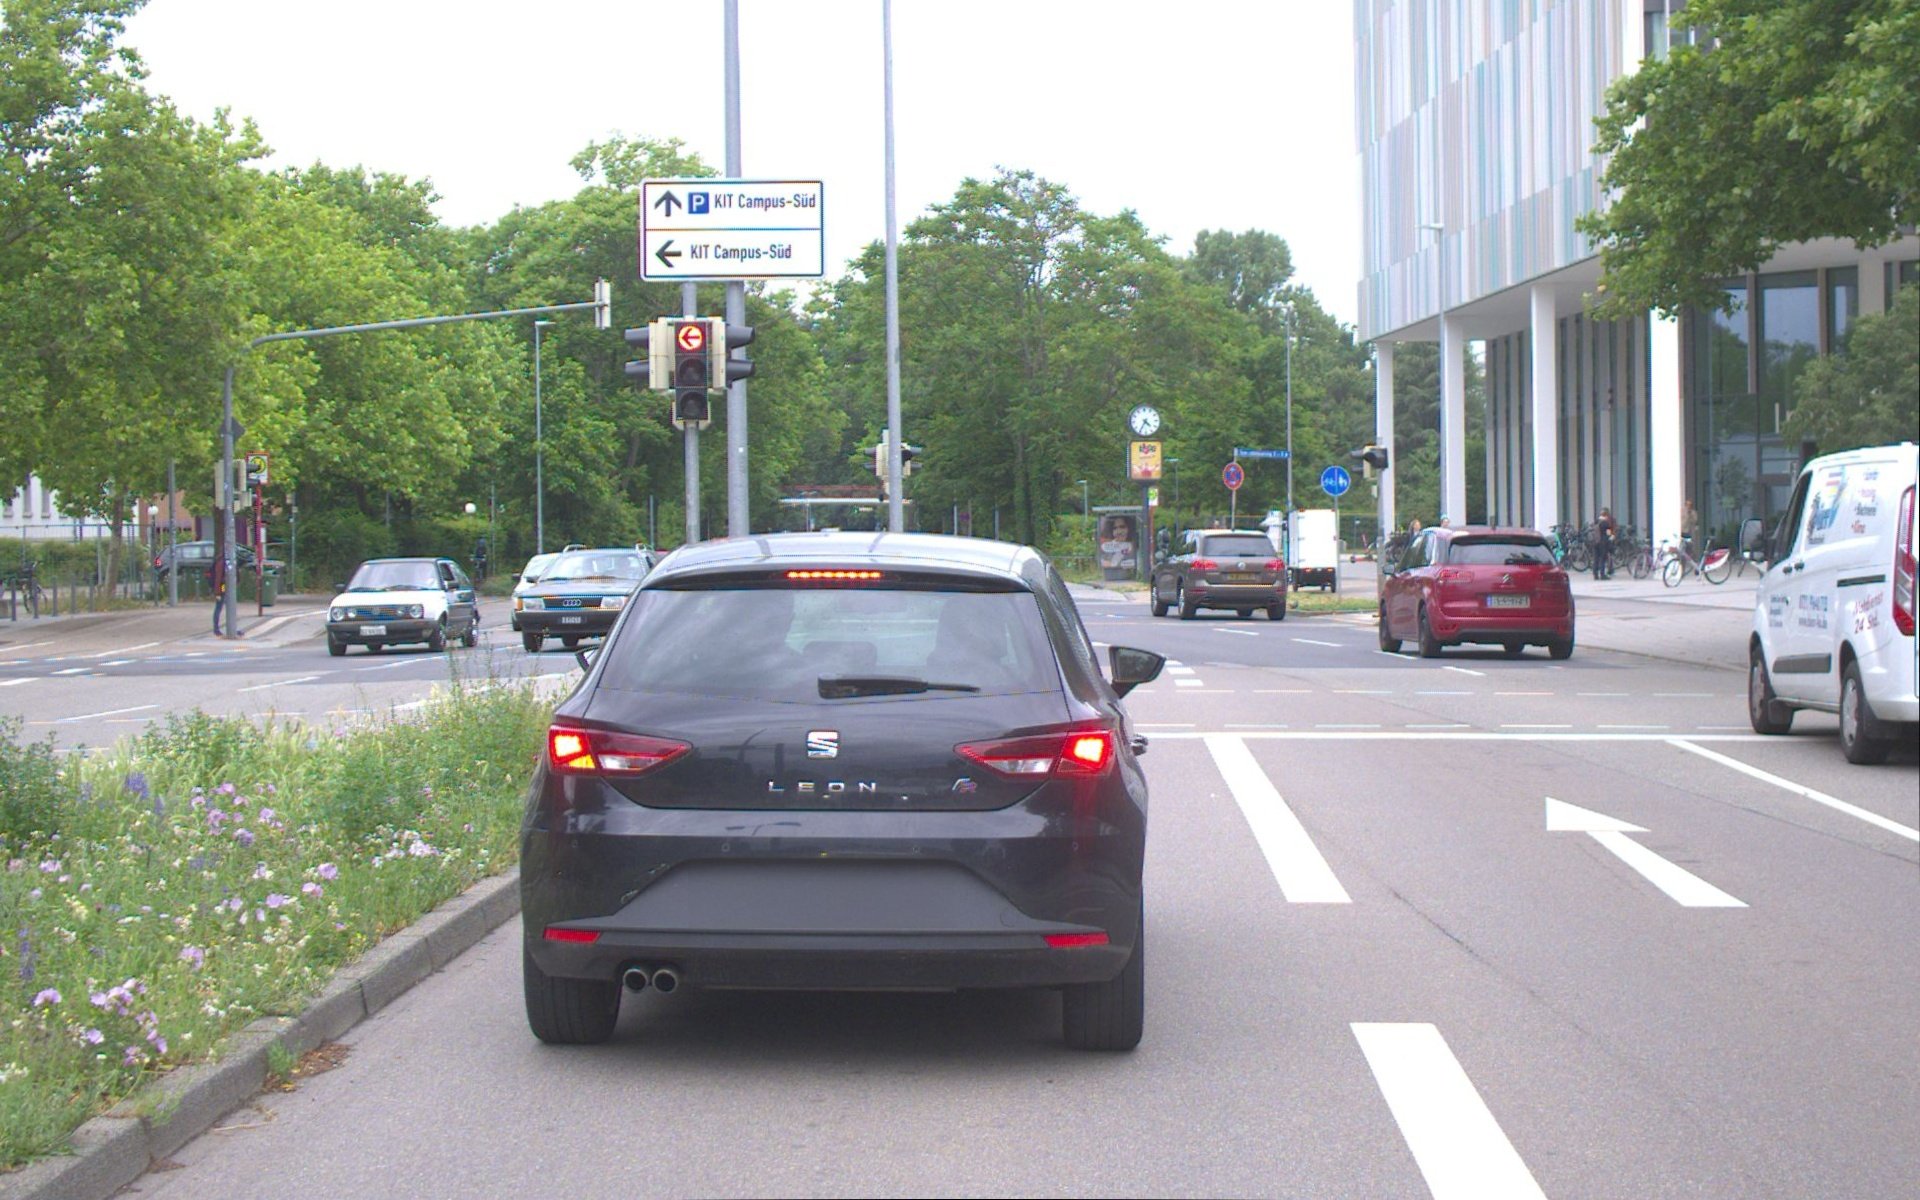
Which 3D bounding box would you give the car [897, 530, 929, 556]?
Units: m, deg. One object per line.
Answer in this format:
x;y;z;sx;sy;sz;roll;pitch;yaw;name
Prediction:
-2.314;-2.828;169.364;1.505;1.189;3.163;-2;2;-1;car

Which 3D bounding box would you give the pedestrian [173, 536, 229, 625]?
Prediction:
-13.833;-0.363;62.679;0.874;1.580;0.543;-2;2;-4;pedestrian

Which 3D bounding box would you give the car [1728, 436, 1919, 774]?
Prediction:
6.407;-0.015;22.145;1.966;1.965;4.344;1;2;1;car

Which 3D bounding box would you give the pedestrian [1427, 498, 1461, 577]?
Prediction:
11.010;-1.426;78.237;0.687;1.775;0.677;0;2;2;pedestrian

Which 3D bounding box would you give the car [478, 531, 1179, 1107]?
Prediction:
-0.227;0.519;10.702;1.753;1.427;3.769;1;2;4;car

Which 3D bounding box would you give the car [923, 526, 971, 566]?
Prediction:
-0.477;-2.004;125.950;1.615;1.349;4.001;-2;2;-1;car

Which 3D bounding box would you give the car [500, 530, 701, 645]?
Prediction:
-5.011;-0.205;48.588;1.764;1.455;4.790;-3;1;7;car

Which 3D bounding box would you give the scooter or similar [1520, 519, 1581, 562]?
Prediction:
16.131;-1.618;93.911;1.671;1.103;0.499;-3;2;-29;scooter or similar

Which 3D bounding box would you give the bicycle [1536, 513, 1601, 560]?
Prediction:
16.520;-1.732;93.312;1.772;1.207;0.570;-3;2;-31;bicycle

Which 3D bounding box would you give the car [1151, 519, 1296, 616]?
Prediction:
4.875;-0.641;64.084;1.914;1.658;4.115;-2;2;-6;car

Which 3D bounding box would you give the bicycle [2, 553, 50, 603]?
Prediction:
-20.858;-0.498;76.775;0.607;1.056;2.045;-2;2;-4;bicycle

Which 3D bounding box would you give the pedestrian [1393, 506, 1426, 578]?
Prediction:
10.235;-1.328;78.275;0.687;1.634;0.633;0;2;2;pedestrian

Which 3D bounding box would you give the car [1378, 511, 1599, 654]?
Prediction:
6.397;-0.256;42.002;1.949;1.618;3.750;0;2;-2;car

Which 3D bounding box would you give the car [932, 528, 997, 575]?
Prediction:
0.125;-1.551;108.961;1.898;1.349;3.883;-2;2;-1;car

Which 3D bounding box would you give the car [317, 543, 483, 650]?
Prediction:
-8.073;-0.083;49.834;1.608;1.376;3.808;-2;2;2;car

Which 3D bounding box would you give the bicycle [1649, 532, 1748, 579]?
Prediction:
15.427;-0.932;71.815;1.885;0.895;0.697;-3;2;-18;bicycle

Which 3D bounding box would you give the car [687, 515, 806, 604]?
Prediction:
-4.305;-0.836;69.939;1.921;1.658;4.398;-2;1;2;car

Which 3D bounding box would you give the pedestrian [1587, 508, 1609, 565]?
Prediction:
15.655;-1.557;84.352;0.472;1.357;0.445;-2;2;12;pedestrian

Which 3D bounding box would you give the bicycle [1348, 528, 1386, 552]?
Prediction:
14.752;-2.175;124.558;1.258;0.845;0.482;2;0;-20;bicycle

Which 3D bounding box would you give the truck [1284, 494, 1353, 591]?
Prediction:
8.587;-1.398;82.562;1.317;2.235;3.401;-2;2;2;truck

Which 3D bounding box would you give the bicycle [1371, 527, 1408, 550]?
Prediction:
15.308;-2.192;122.523;1.234;0.820;0.482;1;0;-20;bicycle

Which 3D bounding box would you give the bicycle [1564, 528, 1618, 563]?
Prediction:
16.803;-1.450;91.596;1.437;0.855;0.365;-3;2;-24;bicycle

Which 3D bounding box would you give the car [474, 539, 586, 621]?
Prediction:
-8.286;-0.412;66.579;1.705;1.426;4.228;-2;2;-2;car

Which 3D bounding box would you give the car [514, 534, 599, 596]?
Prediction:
-12.119;-1.071;103.389;1.906;1.711;4.000;-2;2;2;car

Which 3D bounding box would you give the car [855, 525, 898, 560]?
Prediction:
-3.847;-2.650;158.123;1.695;1.498;4.010;-2;2;-4;car

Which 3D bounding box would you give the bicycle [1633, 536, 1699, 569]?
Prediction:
17.504;-1.186;85.220;1.479;0.746;0.566;-2;2;-1;bicycle
